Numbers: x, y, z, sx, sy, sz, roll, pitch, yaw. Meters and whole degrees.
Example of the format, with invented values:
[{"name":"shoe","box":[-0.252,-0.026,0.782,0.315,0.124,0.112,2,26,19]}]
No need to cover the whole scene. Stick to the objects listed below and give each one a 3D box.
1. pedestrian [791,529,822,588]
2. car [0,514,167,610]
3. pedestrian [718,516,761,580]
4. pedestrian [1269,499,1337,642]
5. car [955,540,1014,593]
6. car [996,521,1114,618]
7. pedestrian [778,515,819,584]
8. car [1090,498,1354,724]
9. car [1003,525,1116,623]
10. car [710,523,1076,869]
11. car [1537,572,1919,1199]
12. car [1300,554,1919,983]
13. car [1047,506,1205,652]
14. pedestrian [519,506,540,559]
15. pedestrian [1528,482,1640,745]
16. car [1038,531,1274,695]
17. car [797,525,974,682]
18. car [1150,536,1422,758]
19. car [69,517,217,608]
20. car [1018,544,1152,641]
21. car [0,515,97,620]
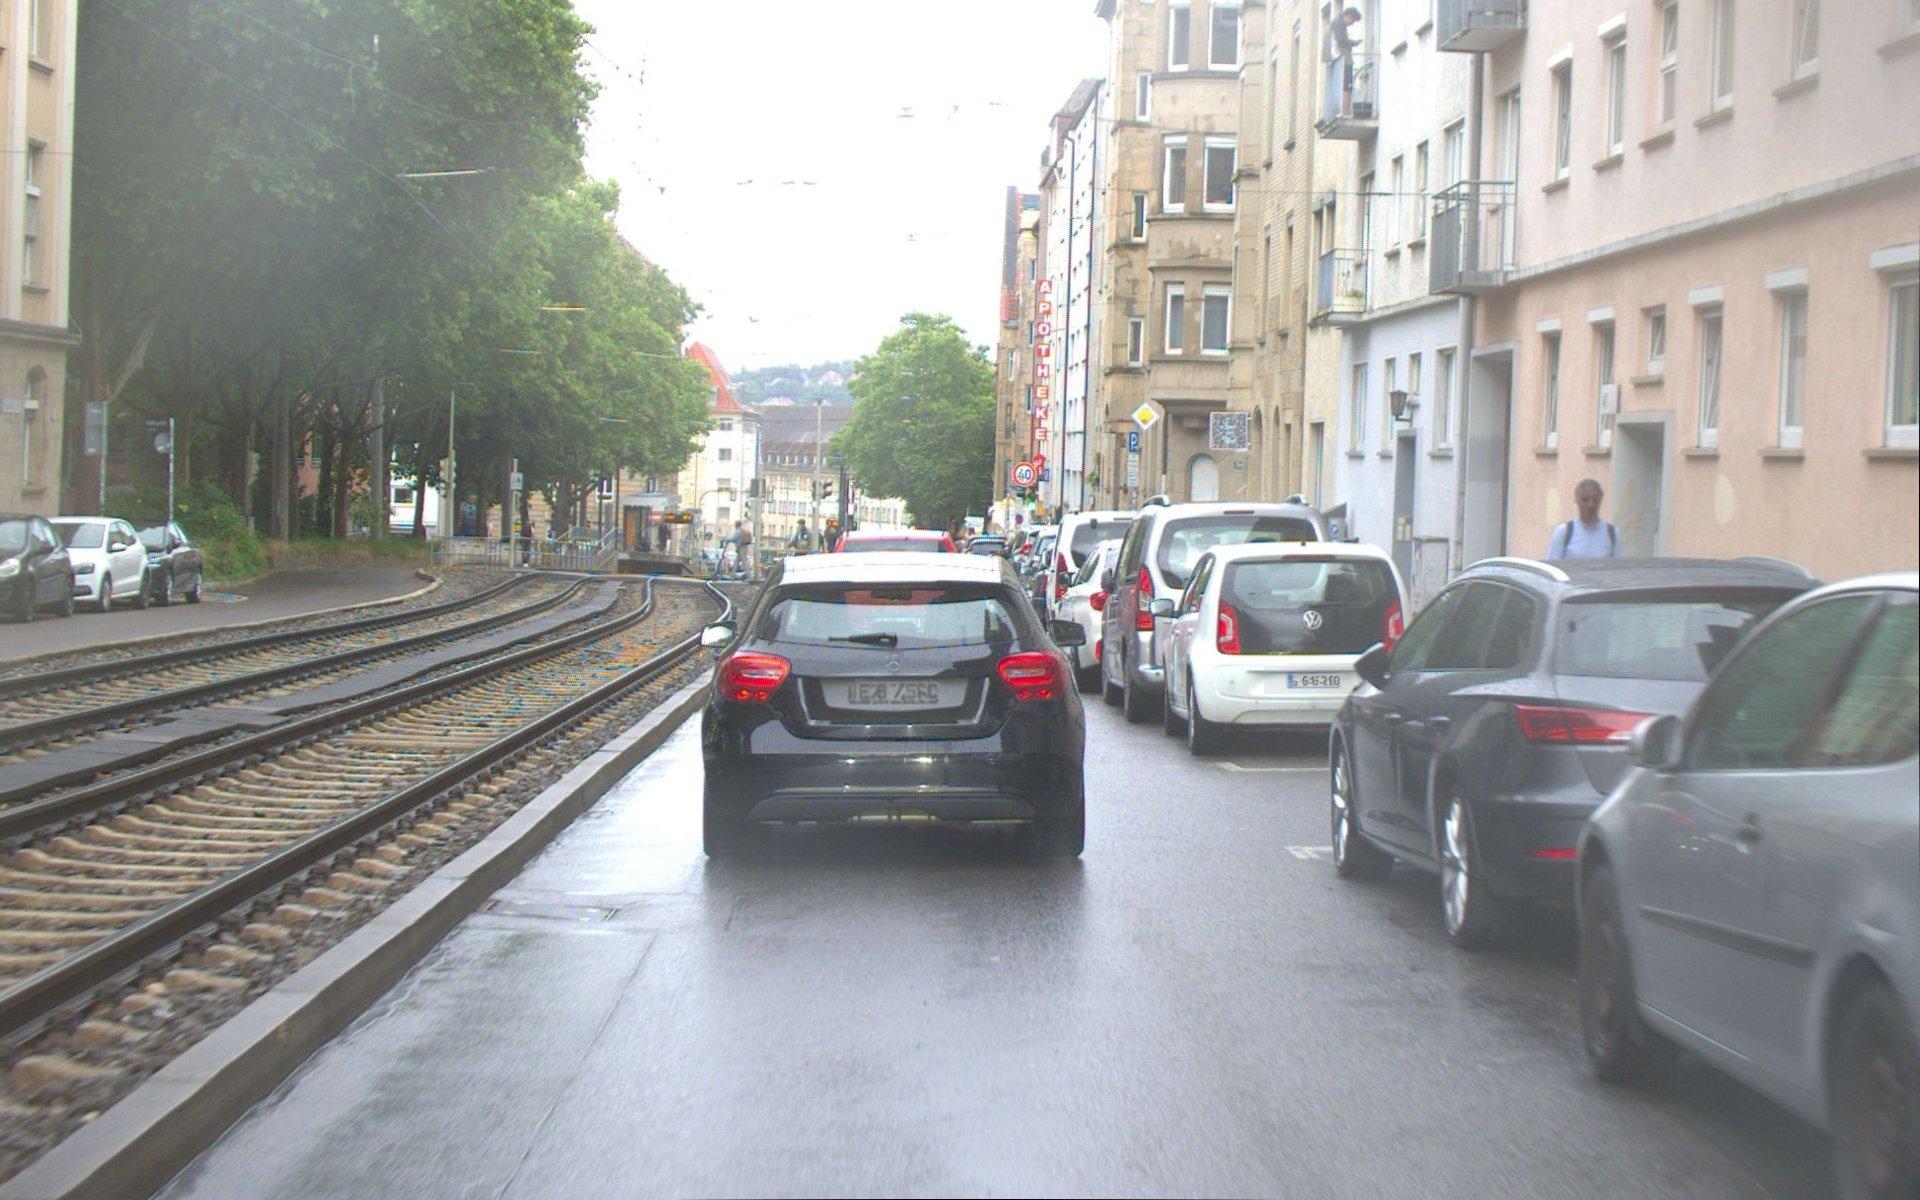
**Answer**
[{"name":"pedestrian","box":[-4.246,-1.160,95.352,0.806,1.628,0.892,-1,1,0]},{"name":"car","box":[-13.412,-0.602,52.781,1.500,1.386,3.987,-1,1,0]},{"name":"pedestrian","box":[-6.048,-1.440,94.428,1.054,1.713,0.904,2,1,1]},{"name":"pedestrian","box":[4.486,-0.393,45.033,0.746,1.827,1.039,-1,1,1]},{"name":"car","box":[0.768,-1.099,111.275,1.827,1.612,3.864,-1,1,-1]},{"name":"car","box":[1.697,-0.583,62.704,1.766,1.662,4.333,2,1,-3]},{"name":"pedestrian","box":[-4.694,-1.466,99.900,1.137,1.991,1.173,-1,1,-5]},{"name":"car","box":[2.120,0.037,28.880,1.790,1.759,4.212,0,1,-1]},{"name":"car","box":[1.621,-0.450,56.941,1.693,1.524,4.000,1,1,0]},{"name":"car","box":[-0.335,0.387,16.874,1.580,1.499,3.575,1,1,-1]},{"name":"car","box":[2.599,0.674,8.129,1.667,1.429,3.957,0,1,-2]},{"name":"car","box":[2.502,0.542,13.739,1.669,1.405,4.312,0,1,-2]},{"name":"car","box":[2.071,-0.305,43.934,1.828,1.744,4.467,1,1,1]},{"name":"pedestrian","box":[-14.694,-2.303,117.351,0.534,1.748,0.607,3,1,0]},{"name":"pedestrian","box":[4.250,0.084,23.446,0.607,1.757,0.688,-1,1,-2]},{"name":"car","box":[1.857,0.070,34.066,1.871,1.450,4.903,1,1,-2]},{"name":"car","box":[-0.787,0.000,37.068,1.785,1.575,4.000,1,1,-1]},{"name":"car","box":[2.271,0.280,24.681,1.570,1.457,3.600,0,1,0]},{"name":"car","box":[-13.501,-0.641,56.977,1.614,1.424,3.853,0,2,-1]},{"name":"car","box":[1.860,-0.138,52.226,1.717,1.342,4.462,2,1,-1]},{"name":"car","box":[-13.419,-0.465,48.055,1.675,1.409,4.010,-1,1,0]}]
